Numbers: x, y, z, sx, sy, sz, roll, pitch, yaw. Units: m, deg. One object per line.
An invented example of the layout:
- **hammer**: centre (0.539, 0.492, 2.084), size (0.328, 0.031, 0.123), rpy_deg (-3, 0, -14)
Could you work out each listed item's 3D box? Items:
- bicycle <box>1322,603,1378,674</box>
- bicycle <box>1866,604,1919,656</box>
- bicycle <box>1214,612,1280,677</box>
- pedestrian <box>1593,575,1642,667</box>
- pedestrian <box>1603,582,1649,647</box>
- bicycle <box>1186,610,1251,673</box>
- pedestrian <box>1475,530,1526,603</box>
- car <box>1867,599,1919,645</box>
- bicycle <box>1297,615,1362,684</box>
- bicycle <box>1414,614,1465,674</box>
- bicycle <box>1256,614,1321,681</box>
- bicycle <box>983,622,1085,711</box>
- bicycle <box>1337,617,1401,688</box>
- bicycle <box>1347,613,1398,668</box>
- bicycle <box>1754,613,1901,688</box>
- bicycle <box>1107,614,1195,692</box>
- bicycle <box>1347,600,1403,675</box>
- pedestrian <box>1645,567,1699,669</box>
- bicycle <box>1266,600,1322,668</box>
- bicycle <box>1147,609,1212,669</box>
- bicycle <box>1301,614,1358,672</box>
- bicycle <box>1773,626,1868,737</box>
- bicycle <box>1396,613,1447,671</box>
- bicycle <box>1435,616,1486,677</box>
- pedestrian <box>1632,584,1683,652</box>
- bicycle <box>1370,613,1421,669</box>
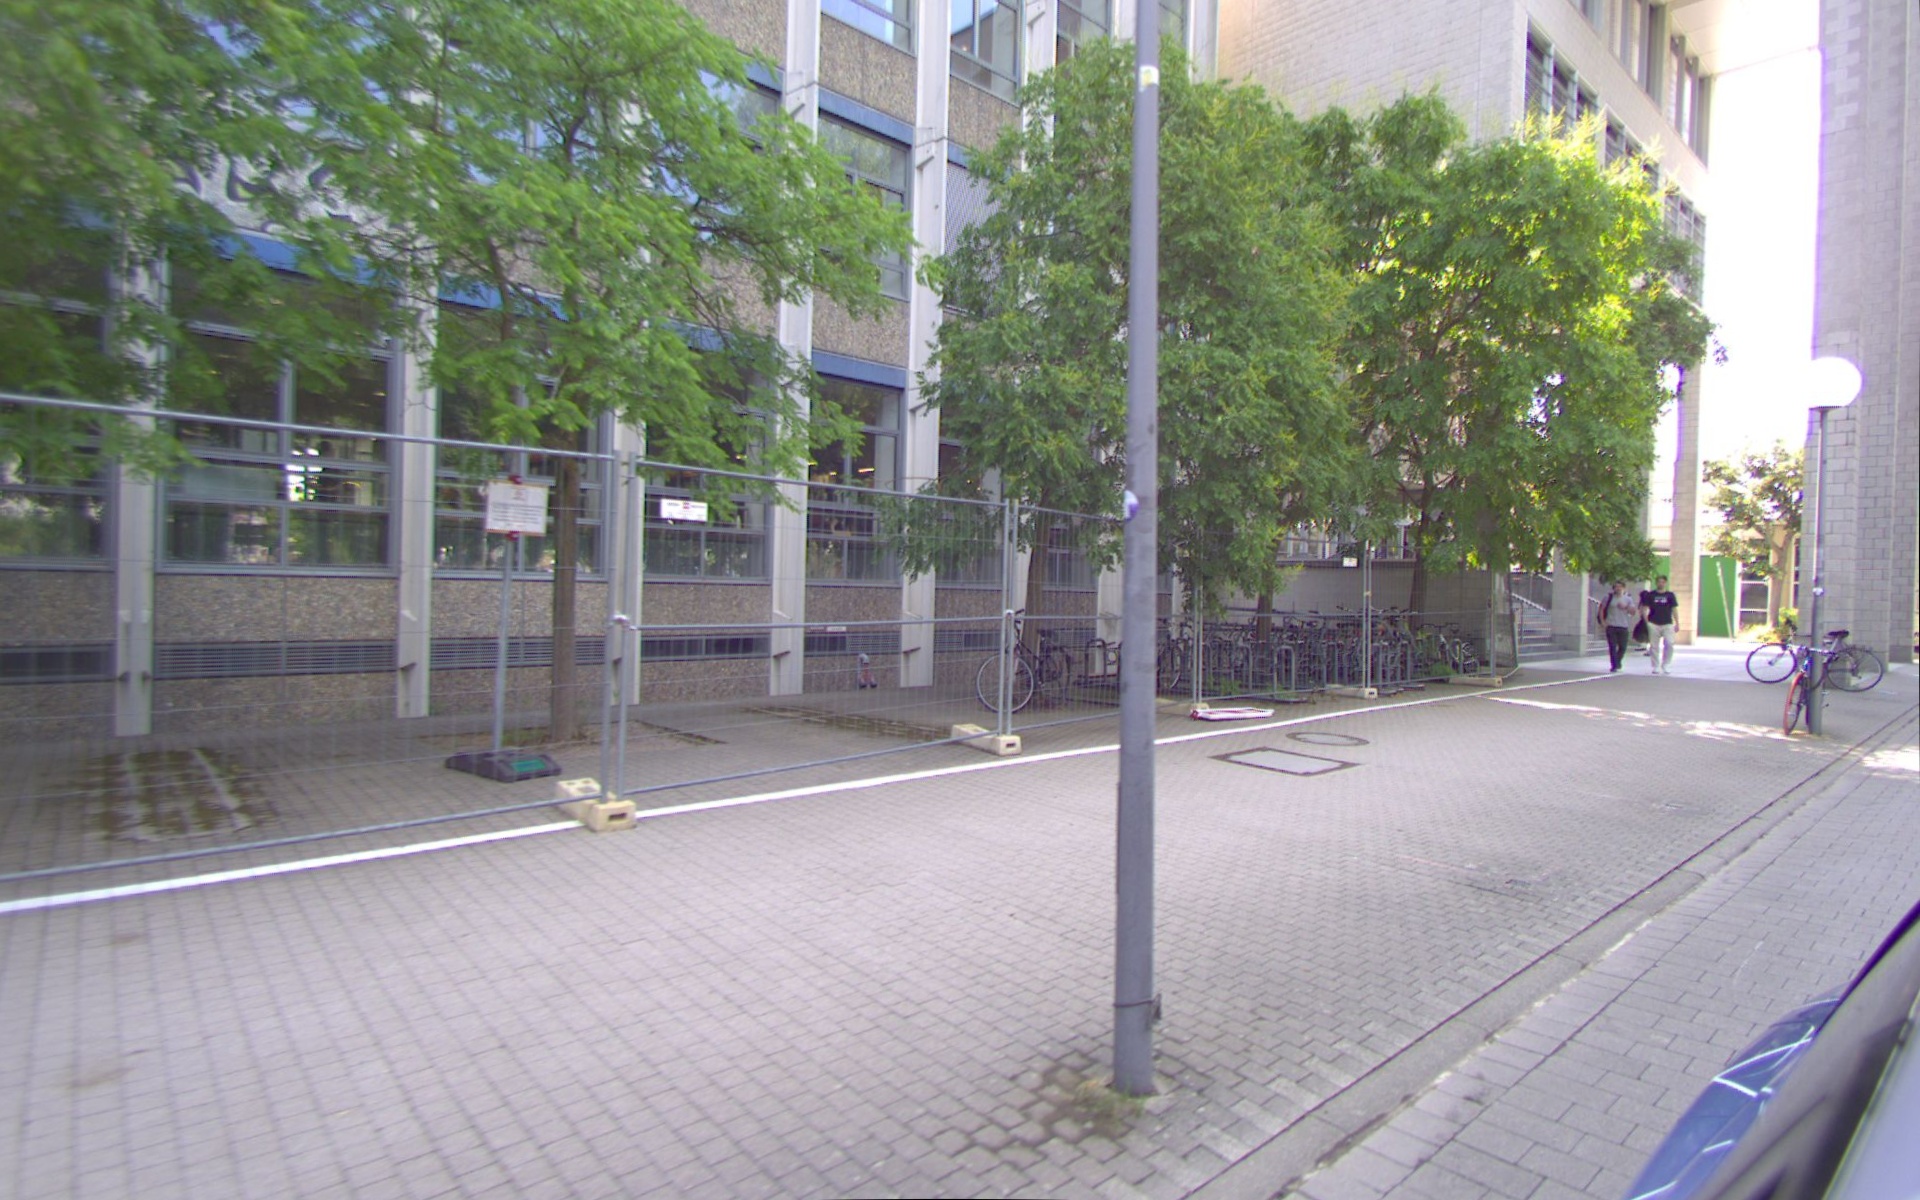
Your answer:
- **bicycle**: centre (6.324, 0.601, 16.380), size (0.290, 1.108, 1.425), rpy_deg (2, 1, 44)
- **bicycle**: centre (22.949, 0.749, 24.174), size (1.881, 1.178, 0.595), rpy_deg (5, 2, 44)
- **bicycle**: centre (4.344, 0.648, 15.278), size (0.290, 0.917, 1.425), rpy_deg (2, 1, 44)
- **pedestrian**: centre (12.504, 0.383, 19.264), size (0.697, 1.676, 0.873), rpy_deg (2, 1, 30)
- **pedestrian**: centre (17.649, 0.373, 26.816), size (0.896, 1.691, 0.665), rpy_deg (2, 1, 42)
- **bicycle**: centre (4.013, 0.631, 15.662), size (0.290, 0.917, 1.425), rpy_deg (2, 1, 44)
- **pedestrian**: centre (13.975, -0.857, 26.188), size (0.756, 1.837, 0.959), rpy_deg (0, 0, -41)
- **car**: centre (34.449, 0.807, 35.498), size (1.625, 1.494, 3.774), rpy_deg (-2, 3, -41)
- **bicycle**: centre (5.279, 0.689, 14.405), size (0.290, 0.917, 1.425), rpy_deg (2, 1, 44)
- **bicycle**: centre (7.909, 0.709, 16.669), size (0.290, 0.917, 1.425), rpy_deg (2, 1, 44)
- **bicycle**: centre (4.818, 0.668, 14.797), size (0.290, 0.917, 1.425), rpy_deg (2, 1, 44)
- **bicycle**: centre (0.886, 0.740, 11.732), size (0.290, 0.917, 1.596), rpy_deg (2, 1, 40)
- **bicycle**: centre (5.698, 0.709, 14.062), size (0.290, 0.917, 1.425), rpy_deg (2, 1, 44)
- **bicycle**: centre (7.212, 0.693, 17.686), size (0.290, 0.917, 1.425), rpy_deg (2, 1, 44)
- **bicycle**: centre (13.851, 0.783, 16.205), size (1.739, 1.052, 0.442), rpy_deg (3, 1, 44)
- **bicycle**: centre (2.495, 0.656, 13.082), size (0.290, 0.917, 1.779), rpy_deg (2, 1, 39)
- **bicycle**: centre (6.619, 0.581, 16.118), size (0.290, 1.142, 1.425), rpy_deg (2, 1, 44)
- **pedestrian**: centre (13.250, 0.322, 18.848), size (0.697, 1.826, 0.873), rpy_deg (2, 1, 30)
- **bicycle**: centre (5.664, 0.557, 17.123), size (0.290, 1.113, 1.425), rpy_deg (2, 1, 44)
- **bicycle**: centre (3.536, 0.610, 16.232), size (0.290, 0.917, 1.425), rpy_deg (2, 1, 44)
- **bicycle**: centre (6.086, 0.694, 16.640), size (0.290, 0.898, 1.425), rpy_deg (2, 1, 44)
- **bicycle**: centre (9.411, 0.849, 11.048), size (1.827, 1.052, 0.538), rpy_deg (0, 2, -42)
- **bicycle**: centre (7.778, 0.696, 17.024), size (0.290, 0.917, 1.425), rpy_deg (2, 1, 44)
- **bicycle**: centre (8.124, 0.736, 16.408), size (0.290, 0.917, 1.425), rpy_deg (2, 1, 44)
- **pedestrian**: centre (17.391, 0.432, 25.245), size (0.797, 1.637, 0.737), rpy_deg (2, 1, 17)
- **bicycle**: centre (7.487, 0.687, 17.383), size (0.290, 0.917, 1.425), rpy_deg (2, 1, 44)
